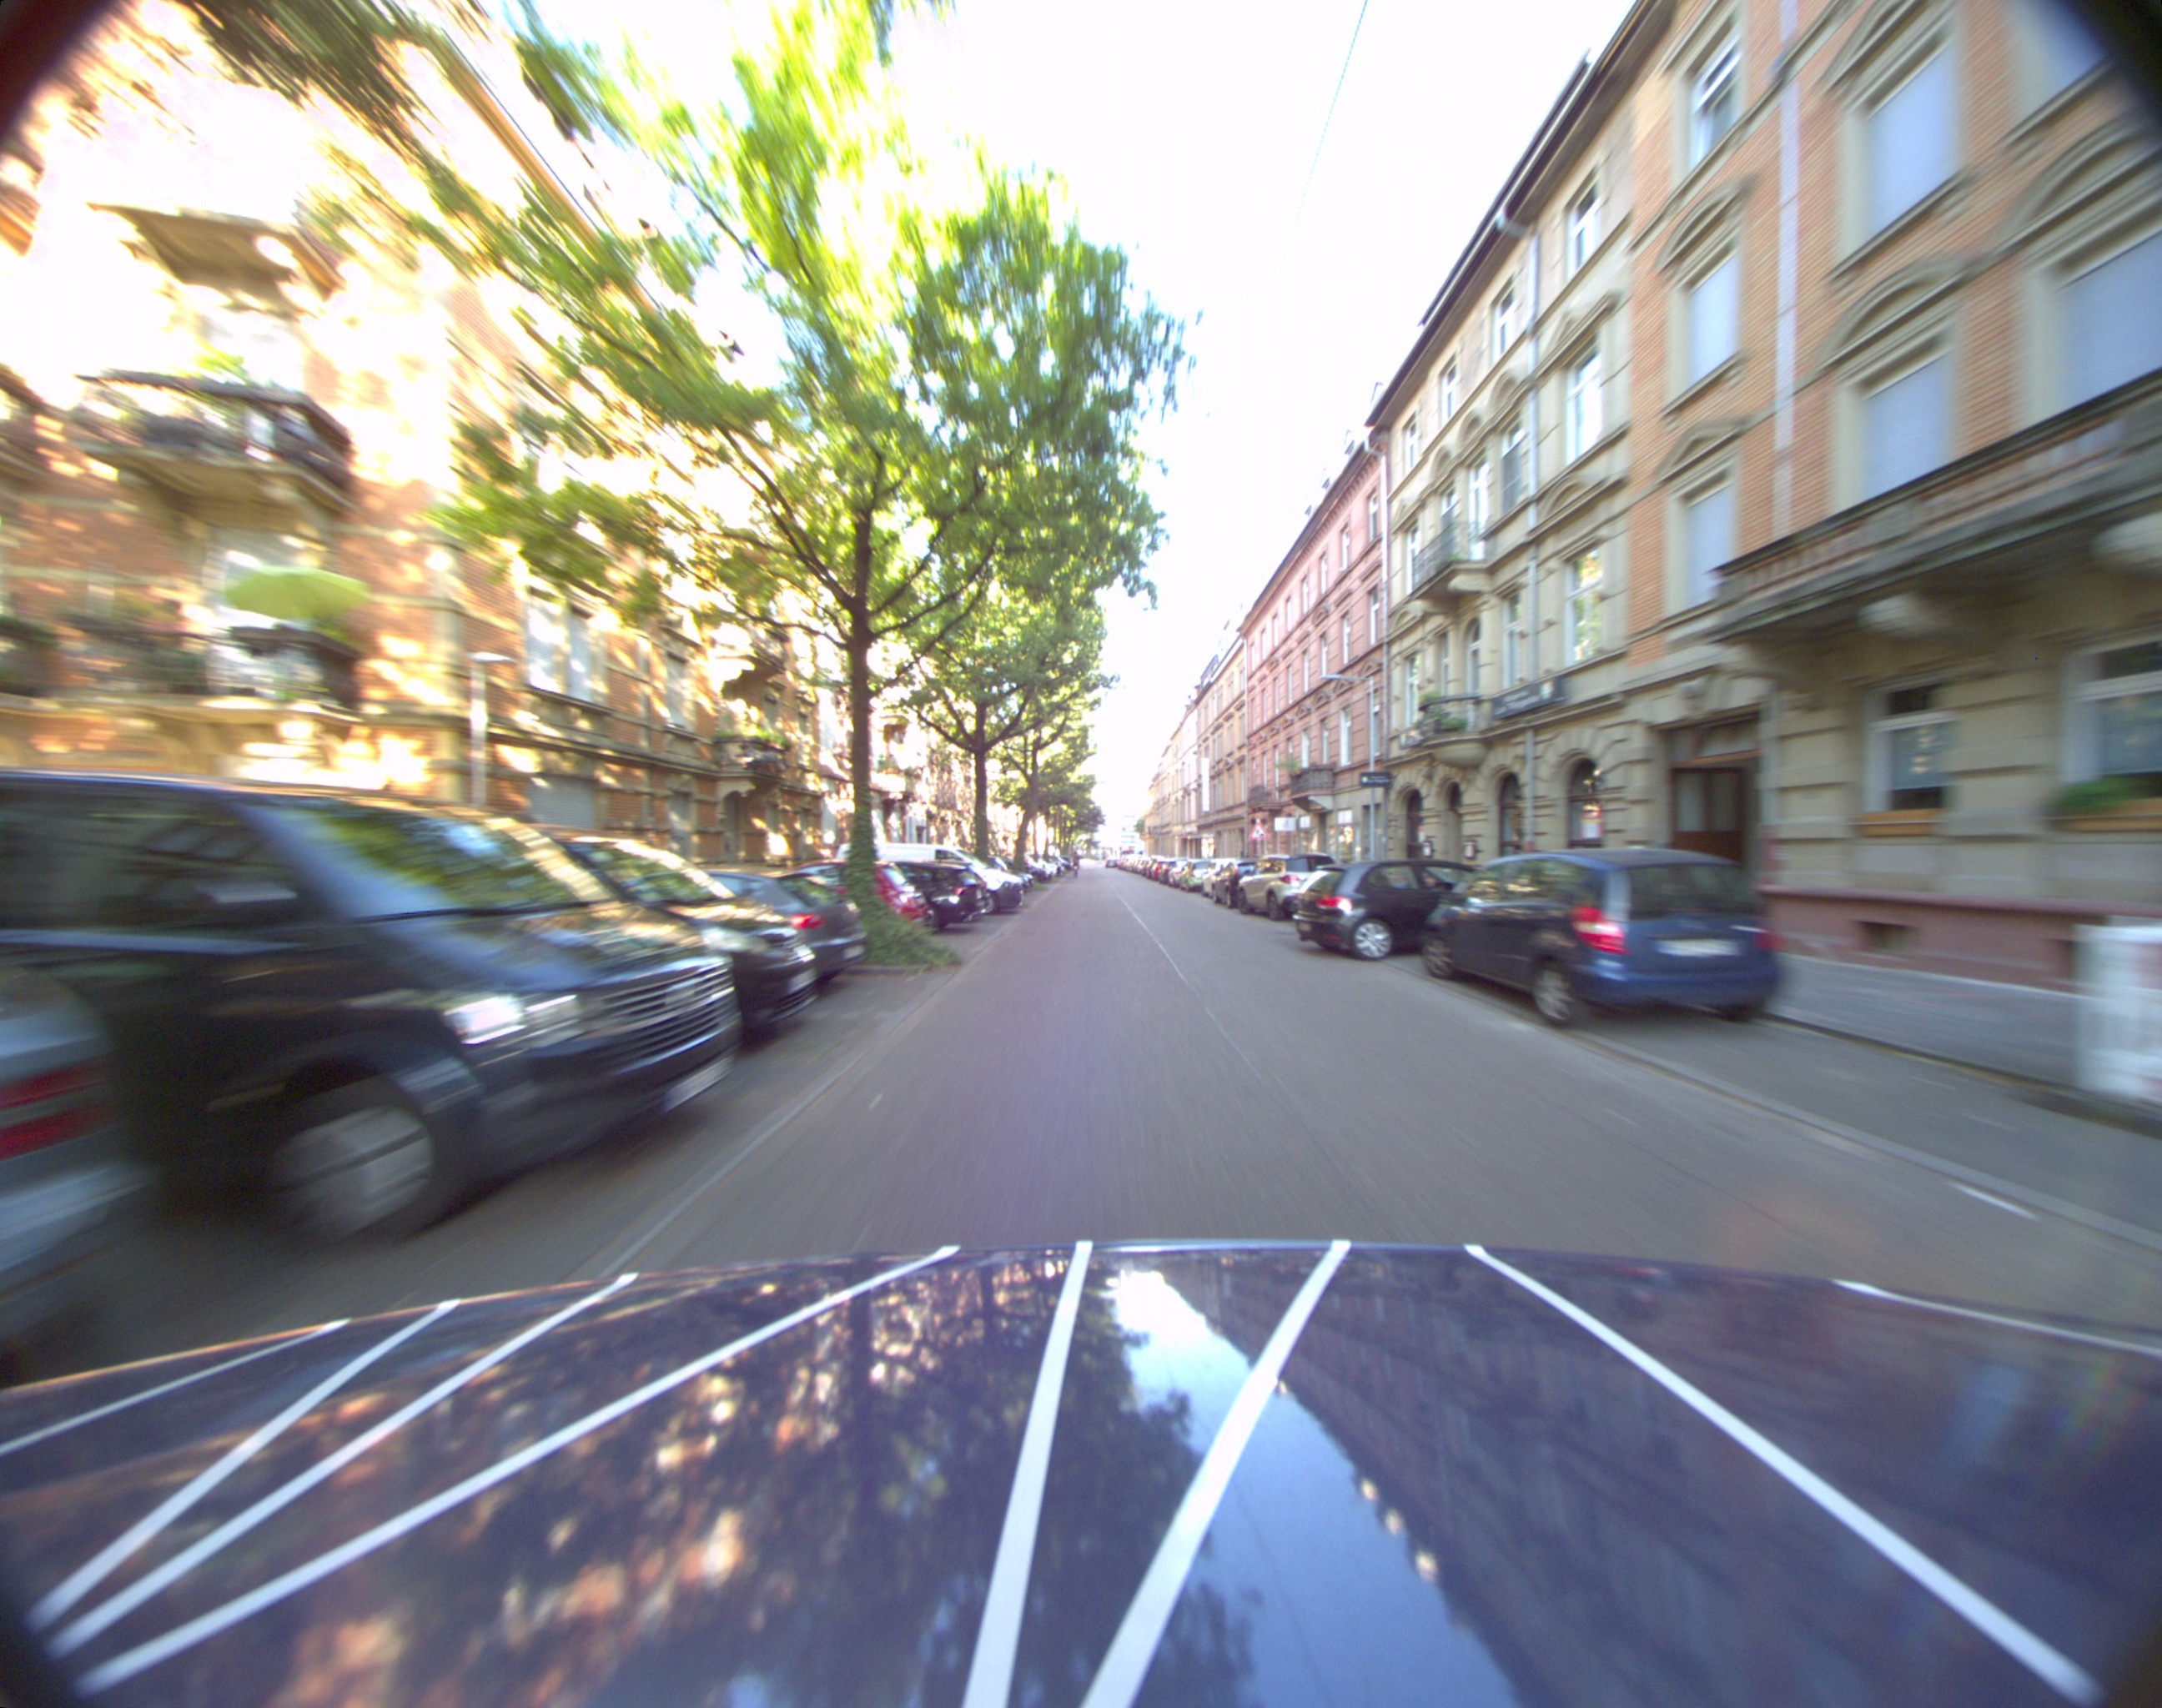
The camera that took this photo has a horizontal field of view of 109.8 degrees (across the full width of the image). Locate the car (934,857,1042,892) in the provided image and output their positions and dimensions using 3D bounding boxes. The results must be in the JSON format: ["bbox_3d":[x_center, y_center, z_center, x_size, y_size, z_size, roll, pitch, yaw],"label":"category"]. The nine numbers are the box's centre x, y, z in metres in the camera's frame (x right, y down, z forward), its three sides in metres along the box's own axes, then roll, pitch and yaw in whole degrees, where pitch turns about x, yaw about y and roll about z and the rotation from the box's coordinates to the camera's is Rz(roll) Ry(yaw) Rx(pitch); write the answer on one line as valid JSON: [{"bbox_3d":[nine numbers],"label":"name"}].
[{"bbox_3d":[-4.148,0.915,34.296,4.563,1.520,2.000,0,0,2],"label":"car"}]

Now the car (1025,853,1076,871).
[{"bbox_3d":[-3.054,0.778,75.672,4.933,1.623,2.078,2,0,-3],"label":"car"}]

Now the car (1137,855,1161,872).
[{"bbox_3d":[6.049,0.849,68.309,1.761,1.464,4.088,0,0,0],"label":"car"}]

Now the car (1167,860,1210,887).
[{"bbox_3d":[5.473,0.969,39.246,1.709,1.315,4.101,0,0,1],"label":"car"}]

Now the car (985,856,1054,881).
[{"bbox_3d":[-3.688,0.864,46.190,3.997,1.380,1.678,2,0,0],"label":"car"}]

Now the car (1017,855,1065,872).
[{"bbox_3d":[-3.567,0.843,68.516,4.155,1.446,1.937,1,0,0],"label":"car"}]

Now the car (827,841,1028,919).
[{"bbox_3d":[-4.158,0.684,21.268,5.104,1.930,2.157,0,4,1],"label":"car"}]

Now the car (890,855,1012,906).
[{"bbox_3d":[-4.348,0.876,25.858,3.894,1.639,1.724,0,0,-2],"label":"car"}]

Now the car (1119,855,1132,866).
[{"bbox_3d":[6.189,0.938,107.029,1.641,1.482,3.825,-1,0,1],"label":"car"}]

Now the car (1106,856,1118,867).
[{"bbox_3d":[5.030,1.158,122.262,1.868,1.620,3.826,-1,0,2],"label":"car"}]

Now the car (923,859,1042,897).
[{"bbox_3d":[-4.016,0.957,31.585,4.670,1.494,1.932,0,0,1],"label":"car"}]

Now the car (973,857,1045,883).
[{"bbox_3d":[-4.069,0.906,43.484,3.998,1.454,1.782,0,0,-2],"label":"car"}]

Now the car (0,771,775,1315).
[{"bbox_3d":[-4.257,0.703,3.790,4.627,2.002,2.000,0,0,-2],"label":"car"}]

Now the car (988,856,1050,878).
[{"bbox_3d":[-4.292,0.916,53.248,4.110,1.461,1.801,-1,0,2],"label":"car"}]

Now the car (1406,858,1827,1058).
[{"bbox_3d":[5.088,0.840,7.995,1.746,1.558,3.895,0,0,1],"label":"car"}]

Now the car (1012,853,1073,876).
[{"bbox_3d":[-2.956,0.806,58.673,4.486,1.647,1.891,-1,2,3],"label":"car"}]

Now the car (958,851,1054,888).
[{"bbox_3d":[-3.724,0.763,38.204,4.657,1.692,1.881,1,0,-3],"label":"car"}]

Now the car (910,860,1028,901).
[{"bbox_3d":[-4.180,0.984,28.789,4.115,1.494,1.811,0,0,2],"label":"car"}]

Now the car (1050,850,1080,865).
[{"bbox_3d":[-2.590,0.575,123.380,4.699,1.966,1.926,4,0,1],"label":"car"}]

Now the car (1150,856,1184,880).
[{"bbox_3d":[5.673,0.910,50.667,1.825,1.417,4.313,-2,0,1],"label":"car"}]

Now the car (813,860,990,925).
[{"bbox_3d":[-4.246,0.905,18.548,3.999,1.466,1.781,1,0,-7],"label":"car"}]

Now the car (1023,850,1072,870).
[{"bbox_3d":[-3.474,0.621,78.744,4.933,1.890,2.175,2,0,-3],"label":"car"}]

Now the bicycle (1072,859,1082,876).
[{"bbox_3d":[-0.289,1.051,57.826,0.712,1.252,1.888,0,0,1],"label":"bicycle"}]

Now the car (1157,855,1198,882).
[{"bbox_3d":[5.524,0.797,44.120,1.825,1.468,4.423,-2,0,1],"label":"car"}]

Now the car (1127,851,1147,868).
[{"bbox_3d":[6.178,0.579,84.198,1.847,1.822,4.606,-1,0,0],"label":"car"}]

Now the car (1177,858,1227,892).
[{"bbox_3d":[5.451,0.909,34.566,1.709,1.430,3.959,0,0,1],"label":"car"}]

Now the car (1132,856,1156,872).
[{"bbox_3d":[5.993,0.975,72.745,1.891,1.436,4.542,-1,0,-1],"label":"car"}]

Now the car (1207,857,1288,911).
[{"bbox_3d":[5.203,0.880,24.186,1.651,1.464,4.000,-3,0,0],"label":"car"}]

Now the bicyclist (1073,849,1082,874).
[{"bbox_3d":[-0.272,0.581,57.870,0.712,1.865,1.120,0,0,1],"label":"bicyclist"}]

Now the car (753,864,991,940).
[{"bbox_3d":[-4.190,0.955,15.763,4.380,1.447,1.934,0,0,1],"label":"car"}]

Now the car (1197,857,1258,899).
[{"bbox_3d":[5.513,0.866,29.081,1.586,1.464,4.000,0,0,0],"label":"car"}]

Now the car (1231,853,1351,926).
[{"bbox_3d":[5.183,0.814,19.304,1.652,1.565,4.048,-3,0,-3],"label":"car"}]

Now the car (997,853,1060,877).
[{"bbox_3d":[-3.787,0.808,55.727,4.487,1.647,1.891,-1,2,0],"label":"car"}]

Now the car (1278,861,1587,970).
[{"bbox_3d":[5.345,0.879,11.873,3.999,1.521,1.825,0,0,-5],"label":"car"}]

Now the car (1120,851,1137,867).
[{"bbox_3d":[6.363,0.690,101.496,1.947,2.045,4.745,-1,0,1],"label":"car"}]

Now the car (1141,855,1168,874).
[{"bbox_3d":[5.917,0.846,61.636,1.867,1.464,4.489,0,0,2],"label":"car"}]

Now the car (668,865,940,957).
[{"bbox_3d":[-4.717,0.947,13.385,4.091,1.489,1.843,0,0,1],"label":"car"}]

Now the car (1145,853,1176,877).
[{"bbox_3d":[5.727,0.767,55.124,1.825,1.591,4.313,-2,0,1],"label":"car"}]

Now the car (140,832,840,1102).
[{"bbox_3d":[-4.473,0.791,6.389,4.280,1.874,1.939,0,0,-3],"label":"car"}]

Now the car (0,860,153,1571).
[{"bbox_3d":[-4.559,0.871,1.157,3.997,1.682,1.800,0,0,-1],"label":"car"}]

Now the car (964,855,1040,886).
[{"bbox_3d":[-4.203,0.874,40.889,3.998,1.581,1.782,0,0,-2],"label":"car"}]

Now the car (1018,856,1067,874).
[{"bbox_3d":[-3.194,0.895,63.744,3.996,1.448,1.687,-1,0,1],"label":"car"}]

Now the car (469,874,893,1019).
[{"bbox_3d":[-4.490,0.985,8.933,3.995,1.439,1.891,0,0,5],"label":"car"}]

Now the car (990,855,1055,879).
[{"bbox_3d":[-3.874,0.881,50.575,4.234,1.527,1.801,-1,0,-2],"label":"car"}]
